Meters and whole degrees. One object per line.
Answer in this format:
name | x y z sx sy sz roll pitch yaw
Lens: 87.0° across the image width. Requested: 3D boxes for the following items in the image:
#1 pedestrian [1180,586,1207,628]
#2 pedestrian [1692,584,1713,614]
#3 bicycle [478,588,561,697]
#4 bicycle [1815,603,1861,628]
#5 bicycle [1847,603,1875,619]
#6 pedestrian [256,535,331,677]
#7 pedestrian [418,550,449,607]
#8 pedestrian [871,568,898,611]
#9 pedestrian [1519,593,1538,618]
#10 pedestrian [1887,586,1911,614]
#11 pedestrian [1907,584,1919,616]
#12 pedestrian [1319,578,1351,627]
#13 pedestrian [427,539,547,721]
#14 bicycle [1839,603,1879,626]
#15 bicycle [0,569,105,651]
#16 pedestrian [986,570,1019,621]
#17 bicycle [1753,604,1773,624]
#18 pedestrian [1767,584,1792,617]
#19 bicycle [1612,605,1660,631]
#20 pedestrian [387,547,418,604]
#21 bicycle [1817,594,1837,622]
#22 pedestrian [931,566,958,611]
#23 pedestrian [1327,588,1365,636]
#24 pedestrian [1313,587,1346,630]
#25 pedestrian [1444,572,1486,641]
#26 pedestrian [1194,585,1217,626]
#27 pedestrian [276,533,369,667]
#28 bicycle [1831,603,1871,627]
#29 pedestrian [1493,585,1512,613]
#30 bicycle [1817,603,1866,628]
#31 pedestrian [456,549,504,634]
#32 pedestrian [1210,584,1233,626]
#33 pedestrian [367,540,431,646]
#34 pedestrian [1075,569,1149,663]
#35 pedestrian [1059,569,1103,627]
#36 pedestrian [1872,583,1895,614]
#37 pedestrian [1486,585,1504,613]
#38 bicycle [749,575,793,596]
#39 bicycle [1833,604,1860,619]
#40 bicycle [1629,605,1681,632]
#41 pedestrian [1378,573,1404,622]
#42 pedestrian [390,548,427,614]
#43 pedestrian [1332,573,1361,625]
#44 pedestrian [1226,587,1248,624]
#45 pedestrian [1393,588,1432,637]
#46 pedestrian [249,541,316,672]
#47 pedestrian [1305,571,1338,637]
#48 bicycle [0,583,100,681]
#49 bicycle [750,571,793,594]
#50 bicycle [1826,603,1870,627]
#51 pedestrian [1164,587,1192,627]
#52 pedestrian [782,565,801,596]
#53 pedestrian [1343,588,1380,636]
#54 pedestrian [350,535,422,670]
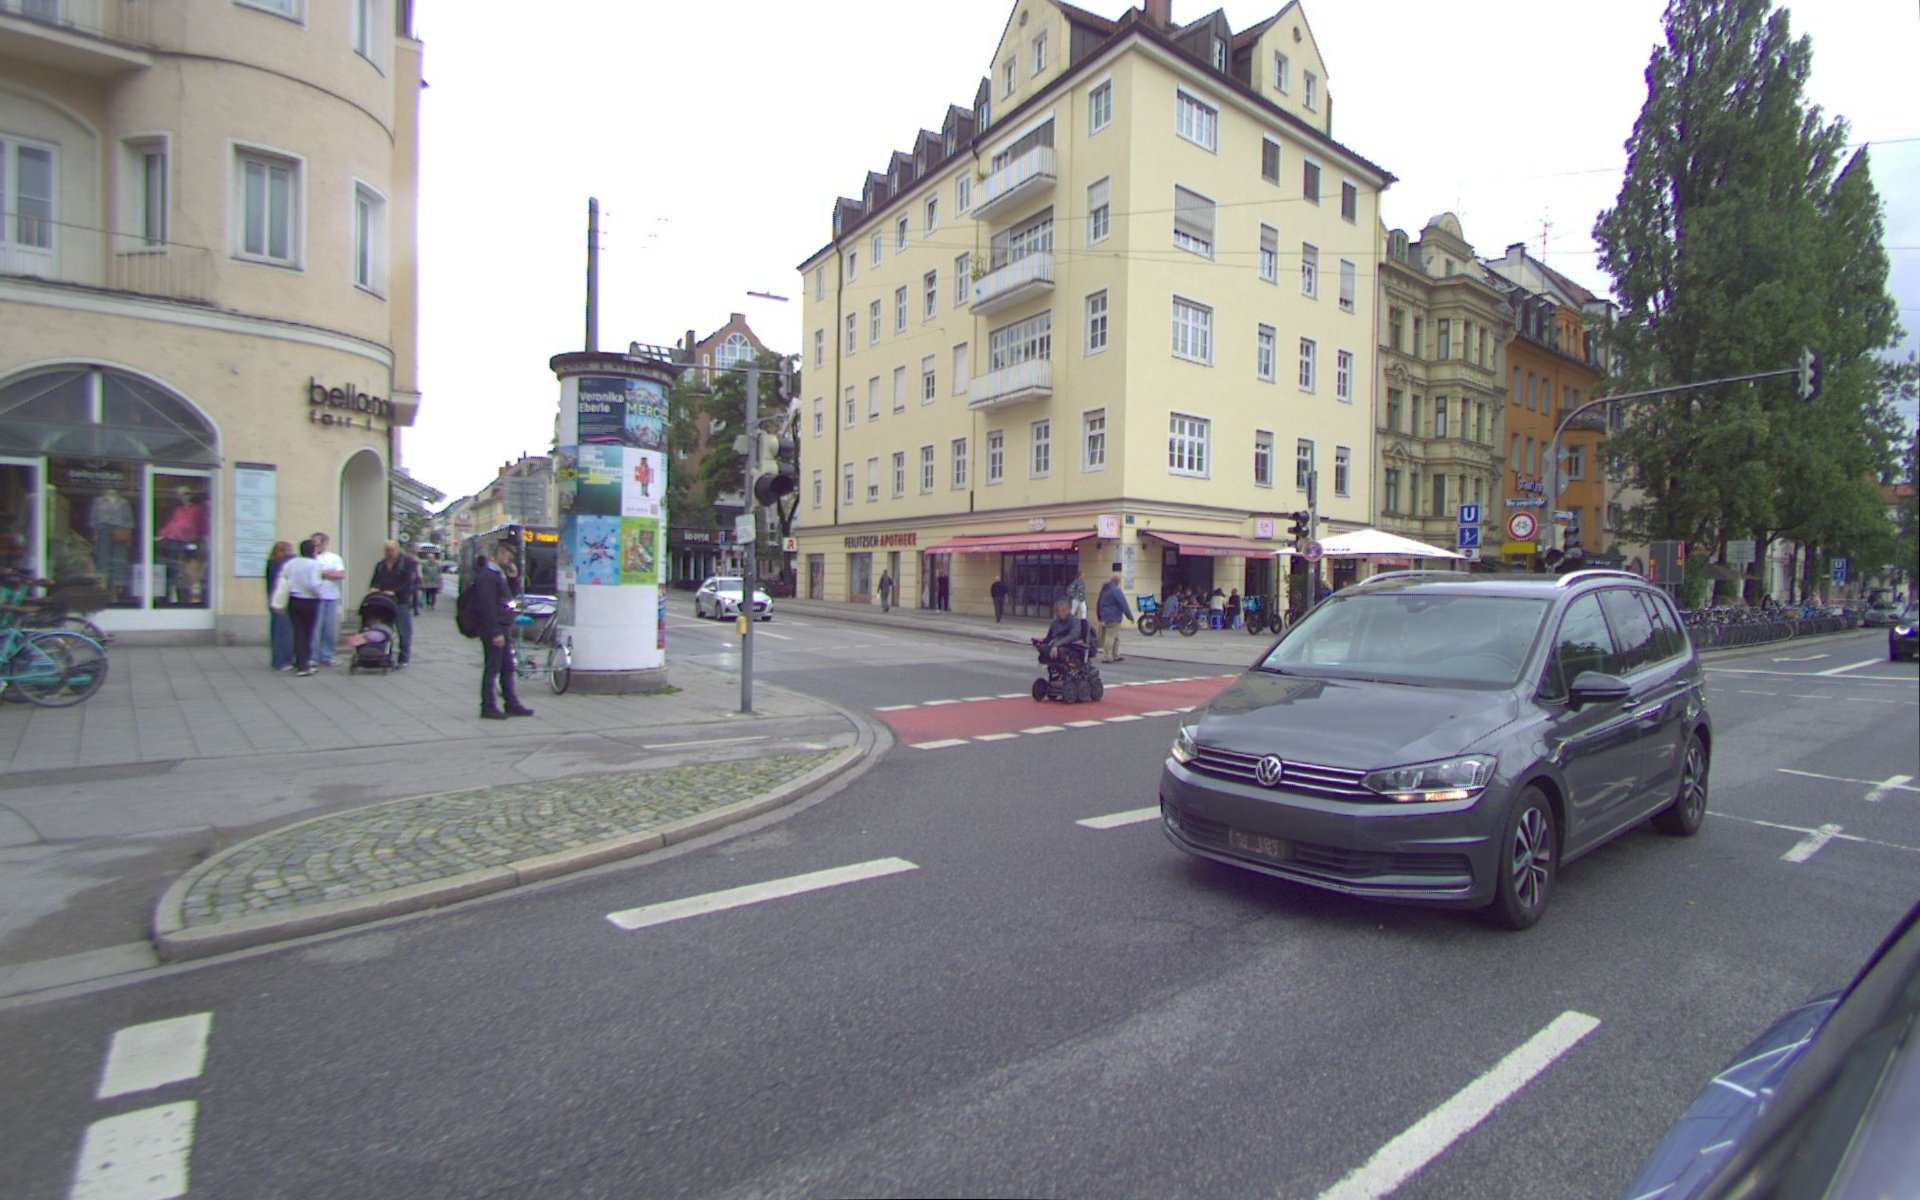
pedestrian | 7.353 0.222 31.897 0.691 1.308 0.515 0 1 -42
pedestrian | 43.828 -0.070 59.757 0.999 1.706 0.747 0 1 -41
bicycle | -5.369 0.488 12.289 0.515 1.174 1.573 3 1 -37
bicycle | 36.464 0.634 42.042 0.368 1.008 1.840 2 0 3
bicycle | 61.099 0.750 68.647 1.801 1.036 0.447 0 0 -14
pedestrian | -8.289 0.070 12.607 0.550 1.692 0.568 4 -1 -18
pedestrian | -16.599 -0.685 31.904 0.732 1.748 0.727 4 -1 -31
pedestrian | -2.952 -0.410 39.573 0.752 1.663 0.761 1 1 -30
pedestrian | 28.341 0.260 50.451 0.573 1.233 0.623 0 1 -41
pedestrian | 55.132 -0.006 59.423 0.743 1.658 0.700 1 0 6
pedestrian | 56.407 -0.002 59.465 0.741 1.824 0.883 1 0 -30
pedestrian | 12.846 0.075 34.644 0.772 1.653 0.712 0 1 -40
pedestrian | -4.663 0.274 10.036 0.803 1.712 0.837 1 1 -3
bicycle | 39.620 0.635 44.627 0.369 1.008 1.836 1 0 10
bicycle | -13.017 0.130 13.957 0.494 1.103 1.837 2 1 43
pedestrian | 1.381 -0.150 32.903 0.753 1.605 0.760 1 1 -36
bicycle | 38.354 0.668 48.323 1.861 0.903 0.457 0 1 -42
pedestrian | 38.994 0.024 48.172 0.749 1.582 0.762 1 0 -39
bicycle | 28.724 0.763 43.027 0.379 1.059 1.730 2 0 -29
pedestrian | -17.616 -0.775 31.985 0.732 1.748 0.727 4 -1 -31
bicycle | 41.368 0.393 48.283 1.747 1.304 0.424 0 1 -40
pedestrian | -0.589 -0.447 38.756 0.690 1.704 0.854 1 1 -30
pedestrian | 10.815 0.329 28.370 0.782 1.327 0.679 0 1 -40
pedestrian | 10.866 0.239 29.785 0.688 1.218 0.627 0 1 -40
pedestrian | 13.423 0.163 26.906 0.878 1.765 0.848 2 1 33
pedestrian | 7.908 0.168 32.583 0.518 1.315 0.479 0 1 -42
pedestrian | -8.645 0.002 13.743 0.638 1.727 0.728 4 -1 20
bicycle | 38.534 0.635 43.775 0.369 1.008 1.836 1 0 10
pedestrian | 25.646 -0.039 47.854 0.573 1.296 0.584 0 1 -41
bicycle | 36.928 0.634 42.440 0.368 1.008 1.843 2 0 -2
pedestrian | -9.986 -0.175 21.037 0.732 1.706 0.683 4 -1 -31
pedestrian | 8.305 0.160 32.199 0.518 1.315 0.479 0 1 -42
pedestrian | -9.562 -0.126 17.274 0.731 1.727 0.684 4 -1 -20
pedestrian | 3.000 0.291 19.983 1.045 1.777 0.936 1 1 -37
pedestrian | 3.662 -0.064 30.714 0.822 1.704 1.041 1 1 -30
pedestrian | 54.261 -0.108 59.474 0.638 1.803 0.702 1 0 -7
pedestrian | 25.013 -0.039 47.327 0.573 1.296 0.584 0 1 -41
bicycle | -10.957 -0.851 58.724 2.429 1.204 0.757 1 1 -14
bicycle | 60.561 0.767 69.138 1.801 1.036 0.447 0 0 -14
bicycle | 28.676 0.758 41.768 1.723 1.059 0.381 1 -1 44
pedestrian | 15.730 -0.110 36.929 0.654 1.761 0.601 0 1 -40
pedestrian | -14.701 -0.508 26.971 0.732 1.706 0.727 4 -1 -31
pedestrian | 12.476 -0.050 32.657 0.666 1.653 0.616 0 1 -40
pedestrian | 8.992 0.179 32.849 0.518 1.180 0.479 0 1 -42
pedestrian | 12.399 0.332 27.713 0.782 1.327 0.679 0 1 -40
pedestrian | -8.749 0.076 13.085 0.556 1.630 0.563 4 -1 -27
pedestrian | 9.705 0.102 27.156 0.752 1.716 0.762 2 1 24
bicycle | -10.851 0.352 11.296 0.492 1.072 1.843 2 1 34
bicycle | -11.104 -1.027 59.679 2.429 1.257 0.757 1 1 -14
bicycle | 38.003 0.635 43.346 0.368 1.008 1.840 2 0 4
pedestrian | 6.742 0.217 31.317 0.691 1.197 0.515 0 1 -42
pedestrian | -9.295 -1.068 55.806 0.752 1.663 0.761 1 1 -30
pedestrian | 11.479 0.329 28.937 0.782 1.327 0.679 0 1 -40
pedestrian | -7.865 0.037 13.891 0.623 1.774 0.652 4 -1 -18
